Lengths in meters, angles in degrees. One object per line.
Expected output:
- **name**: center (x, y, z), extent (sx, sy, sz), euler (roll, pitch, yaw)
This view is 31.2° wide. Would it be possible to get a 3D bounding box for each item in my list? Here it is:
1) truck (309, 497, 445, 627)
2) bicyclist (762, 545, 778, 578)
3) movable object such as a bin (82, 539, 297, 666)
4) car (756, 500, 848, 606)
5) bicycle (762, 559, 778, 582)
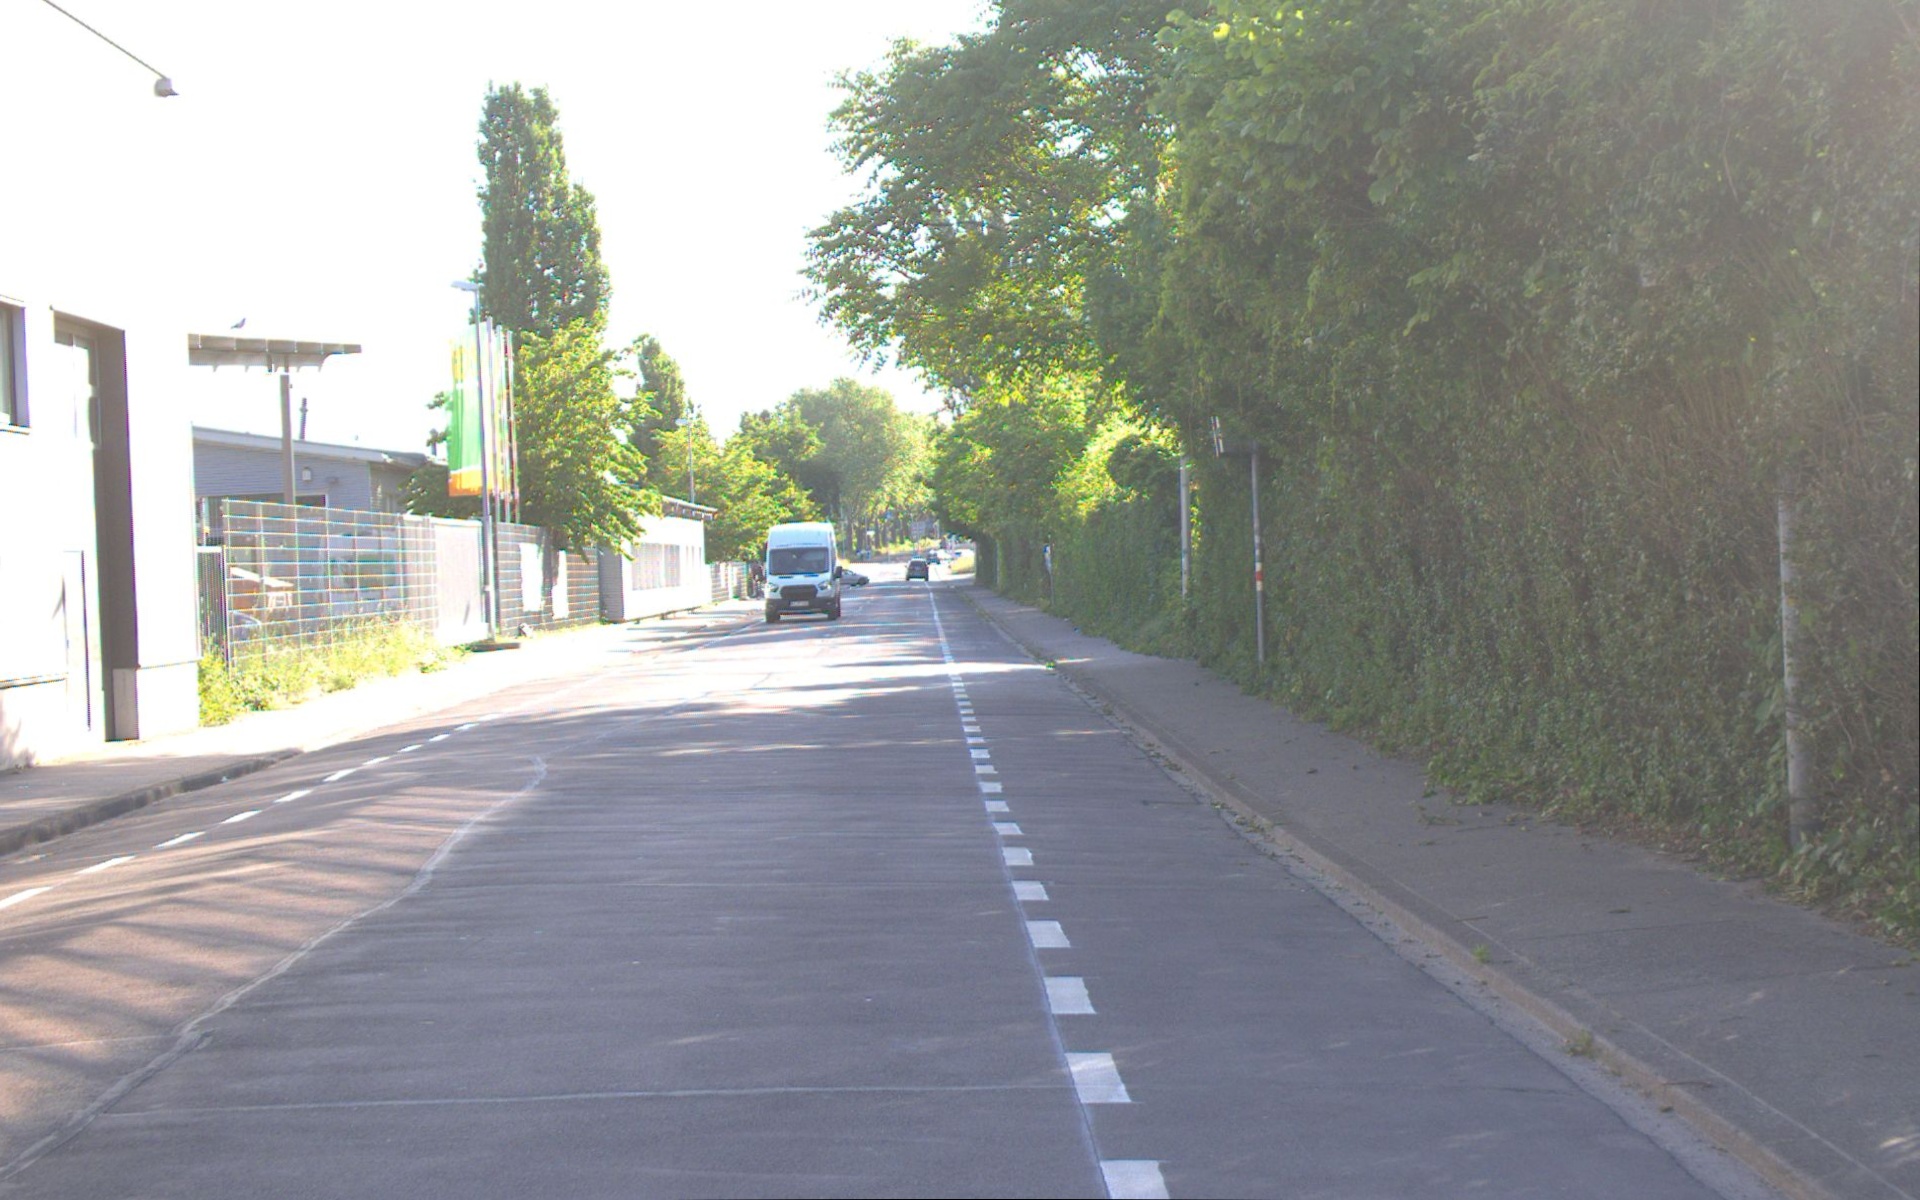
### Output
- **truck**: center (-13.280, -0.903, 78.639), extent (2.078, 2.752, 5.765), euler (-3, 1, -1)
- **bicyclist**: center (-8.918, -1.807, 161.145), extent (0.689, 1.526, 0.722), euler (-1, 1, -1)
- **movable object such as a bin**: center (-12.292, 0.029, 54.962), extent (3.038, 1.829, 1.526), euler (-3, 2, -2)
- **car**: center (-4.503, -1.346, 98.698), extent (2.123, 2.771, 5.927), euler (-5, 1, 0)
- **bicycle**: center (-8.912, -1.378, 161.109), extent (0.689, 1.030, 1.351), euler (-1, 1, -1)
